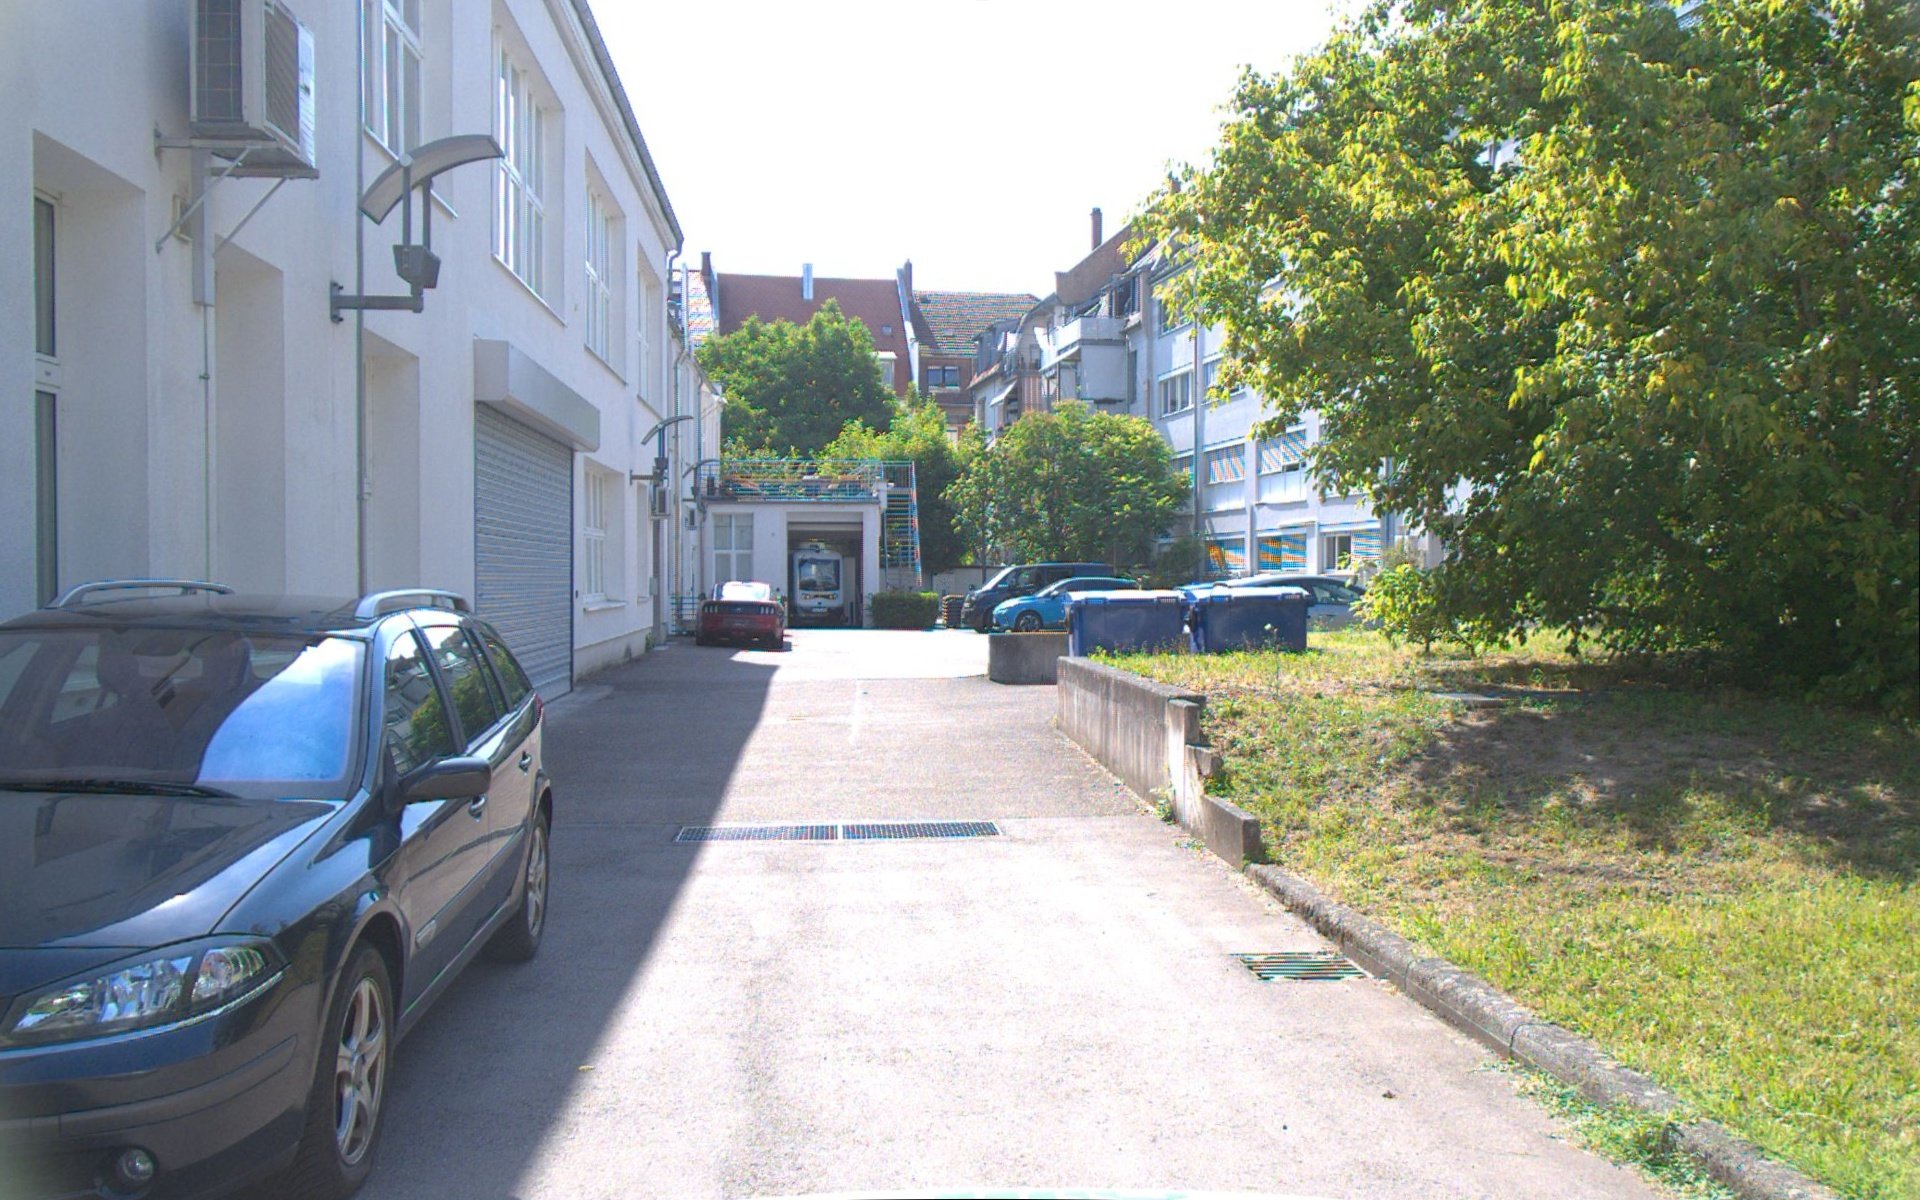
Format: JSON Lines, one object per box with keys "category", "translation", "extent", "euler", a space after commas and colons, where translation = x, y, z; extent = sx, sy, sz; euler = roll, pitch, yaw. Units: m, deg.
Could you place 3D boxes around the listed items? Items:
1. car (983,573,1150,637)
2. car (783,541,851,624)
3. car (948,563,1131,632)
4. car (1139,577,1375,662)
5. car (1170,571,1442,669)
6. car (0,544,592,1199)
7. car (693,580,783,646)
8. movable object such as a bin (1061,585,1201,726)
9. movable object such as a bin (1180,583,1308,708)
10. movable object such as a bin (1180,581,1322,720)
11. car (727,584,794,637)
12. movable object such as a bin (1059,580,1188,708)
{"category": "car", "translation": [2.832, 0.112, 44.470], "extent": [4.150, 1.559, 1.997], "euler": [-1, 2, -9]}
{"category": "car", "translation": [-4.855, -0.578, 56.632], "extent": [2.132, 2.652, 6.728], "euler": [-1, 0, -4]}
{"category": "car", "translation": [2.280, -0.104, 47.681], "extent": [4.874, 1.798, 2.086], "euler": [-2, 2, -18]}
{"category": "car", "translation": [5.351, 0.324, 30.070], "extent": [3.909, 1.418, 1.687], "euler": [-1, 1, -5]}
{"category": "car", "translation": [5.514, 0.293, 26.633], "extent": [3.912, 1.452, 1.809], "euler": [-1, 1, -8]}
{"category": "car", "translation": [-2.377, 0.649, 5.159], "extent": [1.801, 1.467, 4.424], "euler": [2, -1, -5]}
{"category": "car", "translation": [-4.867, 0.258, 36.749], "extent": [1.816, 1.342, 3.995], "euler": [1, 1, -6]}
{"category": "movable object such as a bin", "translation": [1.729, 0.551, 16.960], "extent": [1.222, 1.342, 1.141], "euler": [-2, -1, -3]}
{"category": "movable object such as a bin", "translation": [3.222, 0.494, 18.862], "extent": [1.133, 1.359, 1.140], "euler": [-1, 1, -8]}
{"category": "movable object such as a bin", "translation": [2.982, 0.499, 17.084], "extent": [1.222, 1.364, 1.142], "euler": [-1, 1, -2]}
{"category": "car", "translation": [-5.241, 0.244, 43.780], "extent": [1.582, 1.318, 3.755], "euler": [-1, 1, -5]}
{"category": "movable object such as a bin", "translation": [1.834, 0.472, 18.770], "extent": [1.224, 1.379, 1.127], "euler": [-1, 1, -8]}
